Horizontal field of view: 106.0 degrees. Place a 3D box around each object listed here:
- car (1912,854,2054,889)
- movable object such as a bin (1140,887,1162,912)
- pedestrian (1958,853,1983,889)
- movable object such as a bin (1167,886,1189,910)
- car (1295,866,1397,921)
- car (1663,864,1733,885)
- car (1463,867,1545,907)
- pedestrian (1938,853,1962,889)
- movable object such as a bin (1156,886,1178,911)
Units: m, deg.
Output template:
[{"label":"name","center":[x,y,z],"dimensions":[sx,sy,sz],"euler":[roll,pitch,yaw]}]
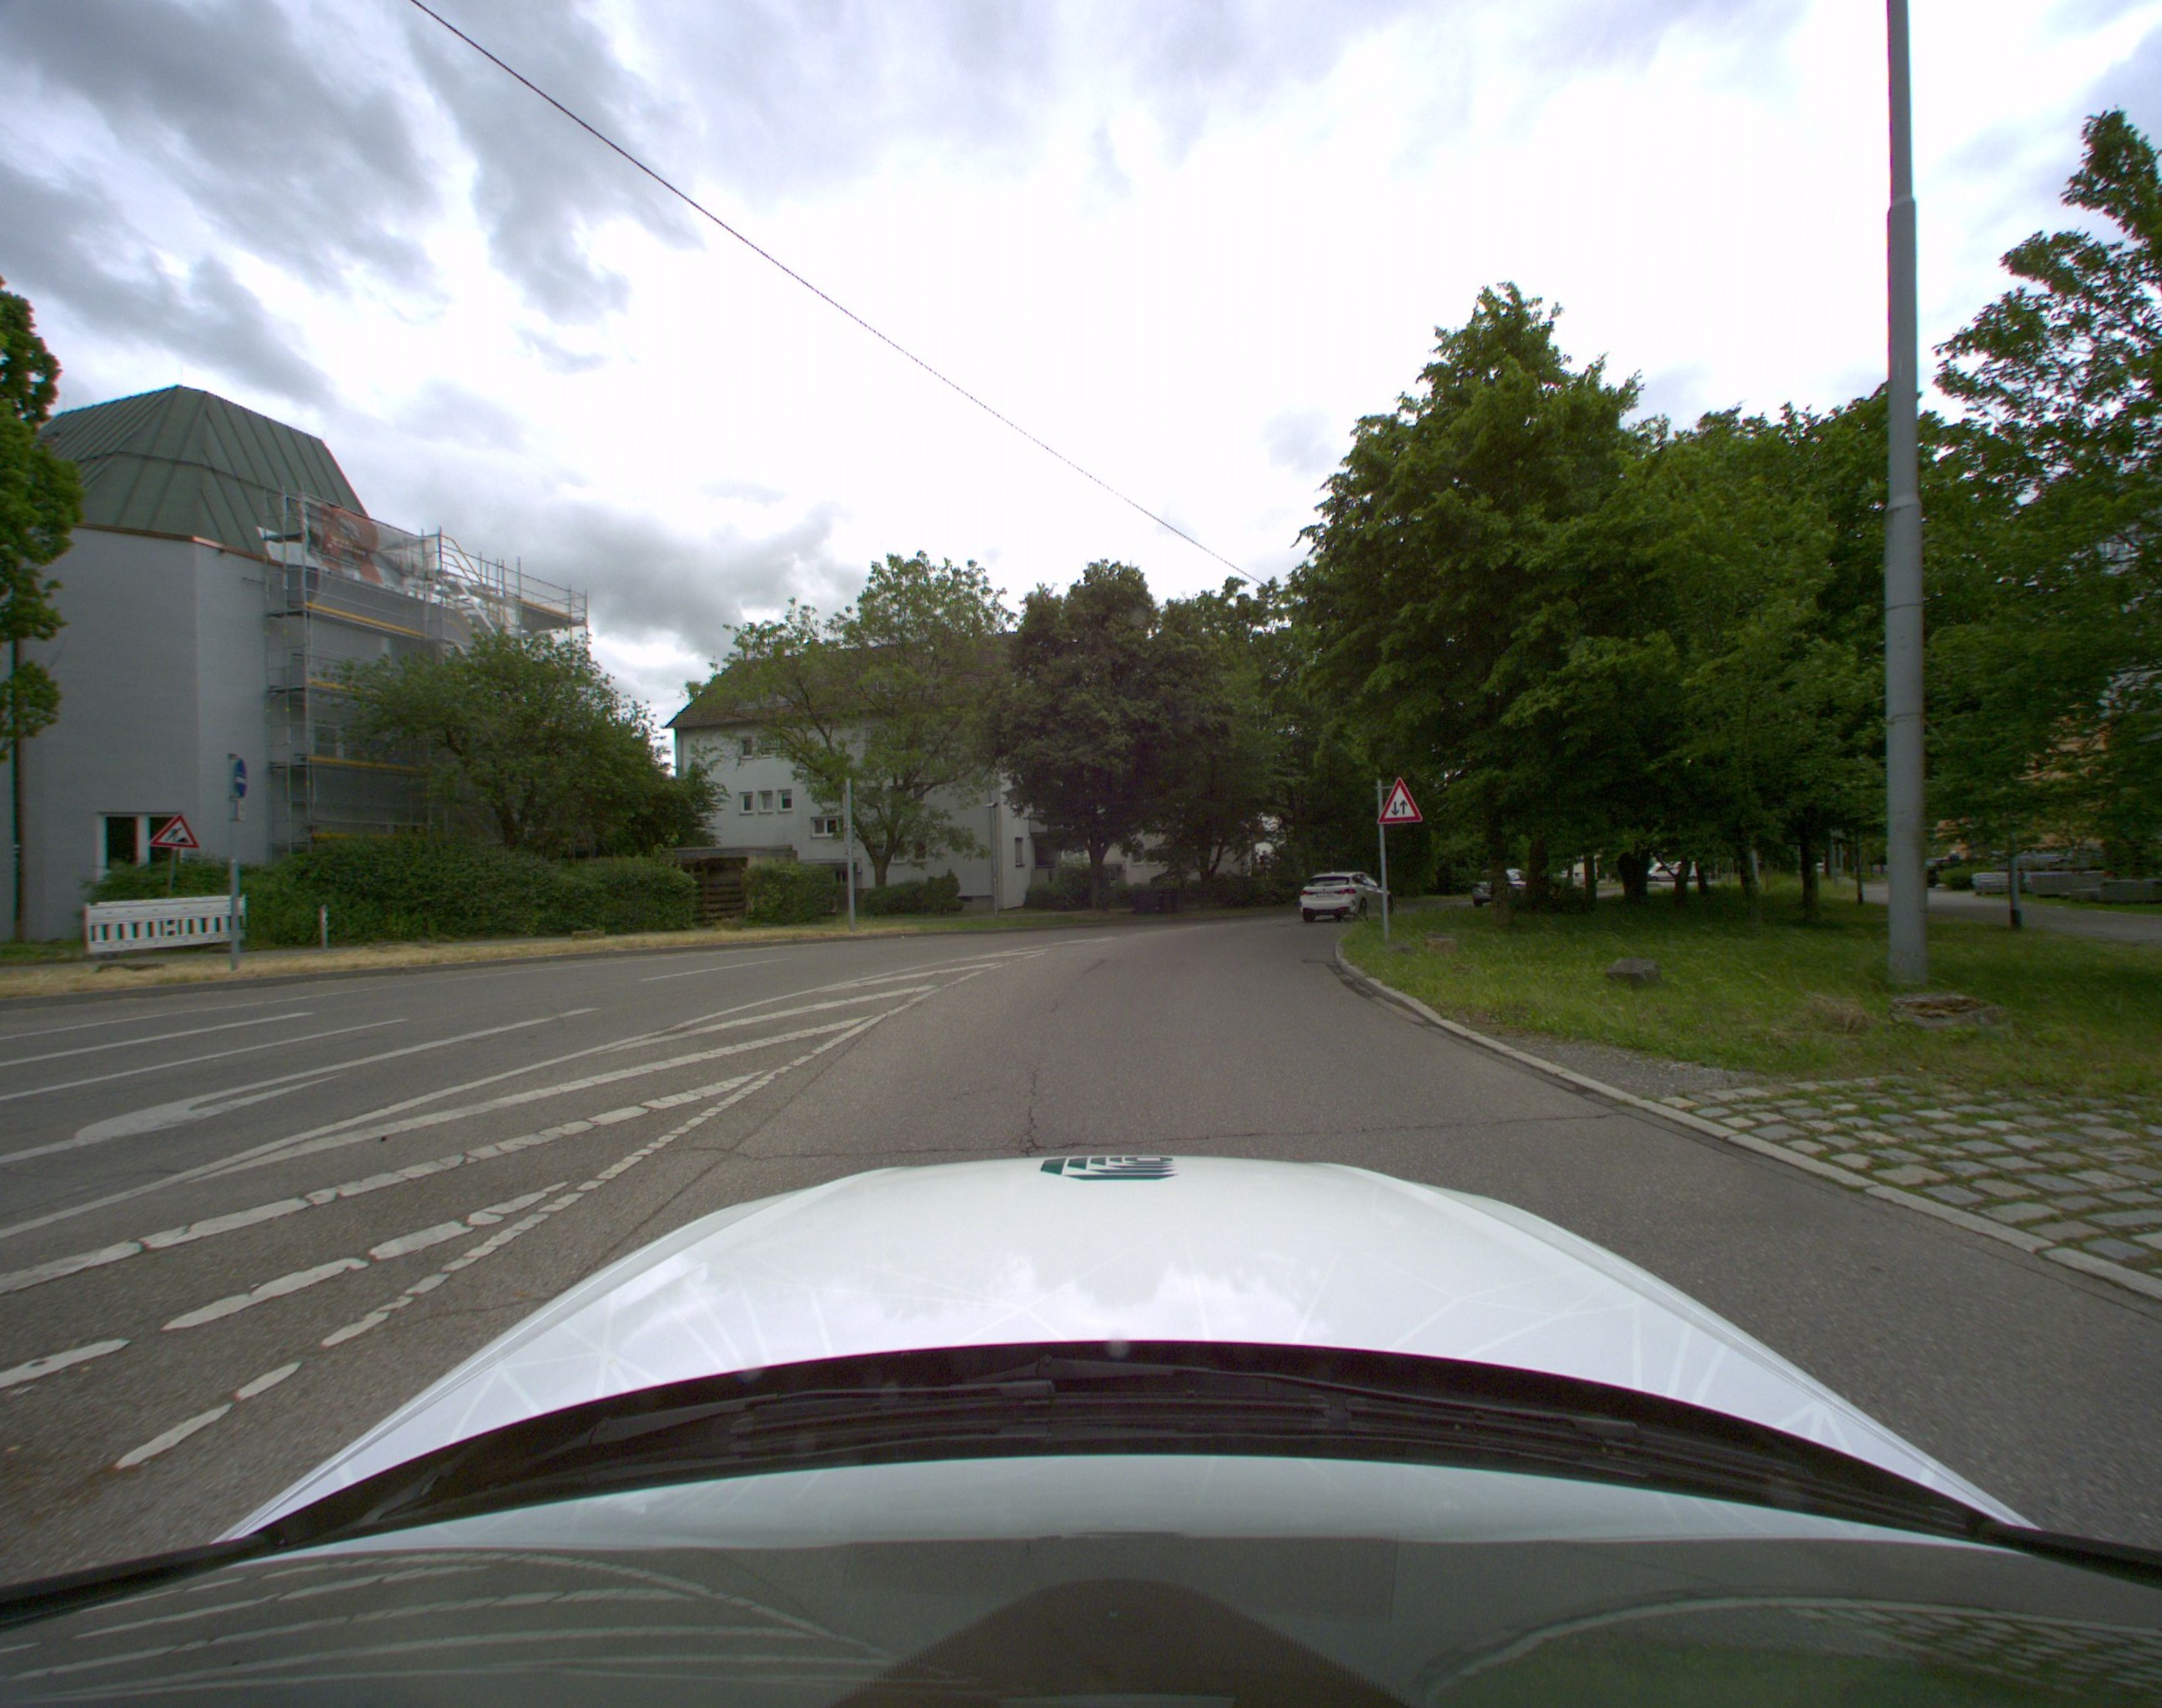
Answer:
[{"label":"car","center":[45.096,0.879,40.793],"dimensions":[4.705,1.517,1.873],"euler":[-2,-4,4]},{"label":"movable object such as a bin","center":[2.514,1.626,29.238],"dimensions":[0.593,0.879,0.616],"euler":[1,0,-20]},{"label":"pedestrian","center":[43.624,0.832,39.952],"dimensions":[0.493,1.725,0.539],"euler":[-5,-2,19]},{"label":"movable object such as a bin","center":[3.531,1.603,29.667],"dimensions":[0.578,0.845,0.596],"euler":[1,0,-20]},{"label":"car","center":[8.198,1.197,24.967],"dimensions":[1.778,1.518,4.233],"euler":[-2,-3,35]},{"label":"car","center":[78.760,2.603,104.103],"dimensions":[6.912,2.522,2.091],"euler":[0,0,11]},{"label":"car","center":[18.130,1.396,34.859],"dimensions":[4.022,1.574,1.905],"euler":[1,-3,-44]},{"label":"pedestrian","center":[42.914,0.825,40.210],"dimensions":[0.469,1.754,0.587],"euler":[-5,-2,19]},{"label":"movable object such as a bin","center":[3.094,1.599,29.439],"dimensions":[0.578,0.866,0.596],"euler":[1,0,-20]}]
